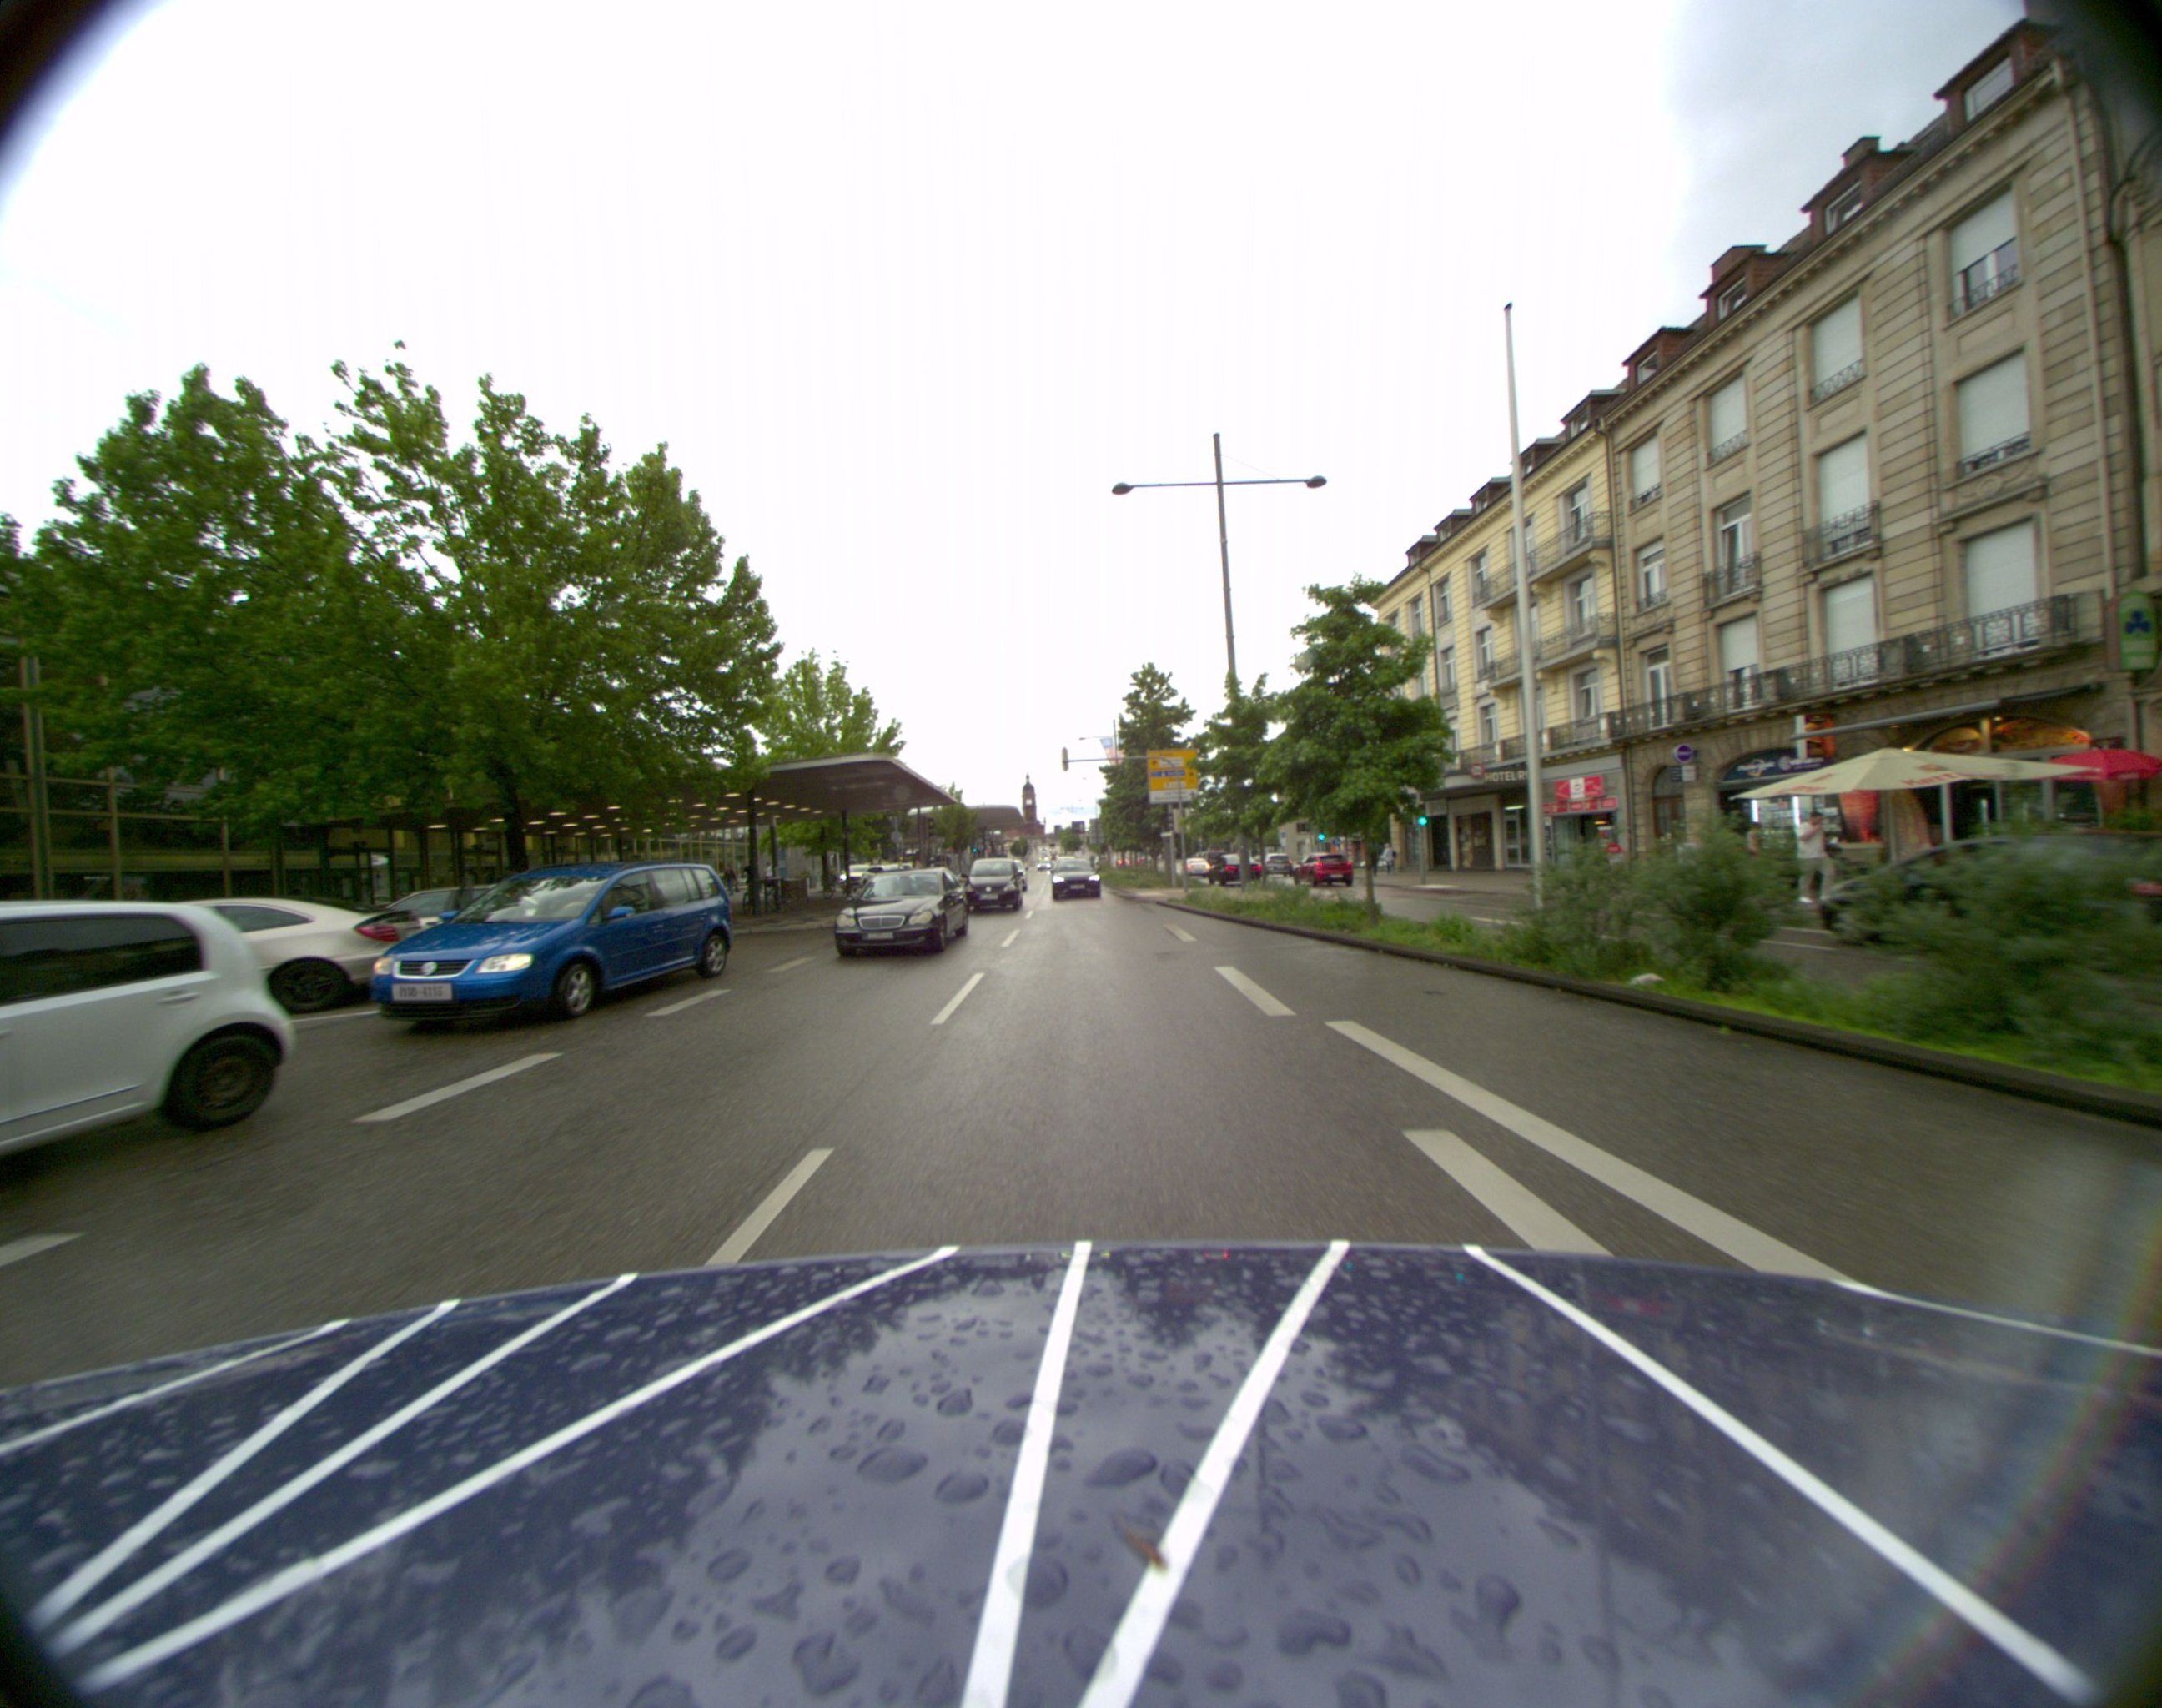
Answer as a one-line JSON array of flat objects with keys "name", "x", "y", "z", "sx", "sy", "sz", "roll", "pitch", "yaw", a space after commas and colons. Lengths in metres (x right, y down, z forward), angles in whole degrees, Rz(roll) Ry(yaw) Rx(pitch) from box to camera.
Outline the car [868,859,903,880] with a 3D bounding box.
[{"name": "car", "x": -15.582, "y": 1.190, "z": 60.732, "sx": 1.820, "sy": 1.482, "sz": 4.463, "roll": -2, "pitch": 0, "yaw": -3}]

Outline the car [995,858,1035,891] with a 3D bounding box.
[{"name": "car", "x": -3.190, "y": 0.980, "z": 37.439, "sx": 1.619, "sy": 1.477, "sz": 3.669, "roll": -2, "pitch": 0, "yaw": -1}]

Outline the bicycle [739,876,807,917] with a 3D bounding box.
[{"name": "bicycle", "x": -9.030, "y": 1.230, "z": 22.303, "sx": 1.723, "sy": 1.040, "sz": 0.523, "roll": -3, "pitch": 1, "yaw": -42}]

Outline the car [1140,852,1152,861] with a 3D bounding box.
[{"name": "car", "x": 11.658, "y": 0.405, "z": 136.881, "sx": 1.983, "sy": 1.438, "sz": 3.908, "roll": -2, "pitch": 0, "yaw": 2}]

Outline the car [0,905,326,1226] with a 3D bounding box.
[{"name": "car", "x": -6.187, "y": 1.128, "z": 3.516, "sx": 1.661, "sy": 1.466, "sz": 3.589, "roll": -2, "pitch": 0, "yaw": 2}]

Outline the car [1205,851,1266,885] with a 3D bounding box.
[{"name": "car", "x": 7.362, "y": 0.625, "z": 36.635, "sx": 1.847, "sy": 1.455, "sz": 5.029, "roll": -2, "pitch": 0, "yaw": -1}]

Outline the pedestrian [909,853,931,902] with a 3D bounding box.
[{"name": "pedestrian", "x": -5.816, "y": 0.839, "z": 27.471, "sx": 0.560, "sy": 1.741, "sz": 0.700, "roll": -1, "pitch": 1, "yaw": 5}]

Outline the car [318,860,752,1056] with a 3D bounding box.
[{"name": "car", "x": -5.961, "y": 0.979, "z": 9.163, "sx": 1.824, "sy": 1.673, "sz": 4.417, "roll": -2, "pitch": 0, "yaw": 3}]

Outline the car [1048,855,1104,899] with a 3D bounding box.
[{"name": "car", "x": -0.129, "y": 0.809, "z": 28.932, "sx": 1.871, "sy": 1.466, "sz": 3.826, "roll": -2, "pitch": 0, "yaw": 3}]

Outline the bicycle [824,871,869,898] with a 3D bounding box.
[{"name": "bicycle", "x": -9.715, "y": 1.271, "z": 31.542, "sx": 1.720, "sy": 1.040, "sz": 0.524, "roll": -1, "pitch": 1, "yaw": -10}]

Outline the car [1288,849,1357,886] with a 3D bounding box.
[{"name": "car", "x": 10.595, "y": 0.543, "z": 33.591, "sx": 1.682, "sy": 1.437, "sz": 3.914, "roll": -2, "pitch": 1, "yaw": -2}]

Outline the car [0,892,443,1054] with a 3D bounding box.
[{"name": "car", "x": -10.277, "y": 1.280, "z": 8.920, "sx": 3.936, "sy": 1.391, "sz": 1.775, "roll": -2, "pitch": 1, "yaw": -28}]

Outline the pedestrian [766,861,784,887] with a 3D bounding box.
[{"name": "pedestrian", "x": -19.679, "y": 1.265, "z": 48.823, "sx": 0.762, "sy": 1.639, "sz": 0.852, "roll": -2, "pitch": 1, "yaw": 0}]

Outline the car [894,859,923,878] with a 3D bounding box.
[{"name": "car", "x": -15.429, "y": 1.285, "z": 68.011, "sx": 1.820, "sy": 1.581, "sz": 4.076, "roll": -2, "pitch": 0, "yaw": -3}]

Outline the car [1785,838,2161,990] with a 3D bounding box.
[{"name": "car", "x": 11.029, "y": 0.557, "z": 9.073, "sx": 1.632, "sy": 1.423, "sz": 3.759, "roll": -2, "pitch": 0, "yaw": -3}]

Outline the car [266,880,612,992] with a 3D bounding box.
[{"name": "car", "x": -10.252, "y": 1.244, "z": 12.546, "sx": 3.934, "sy": 1.391, "sz": 1.776, "roll": -2, "pitch": 1, "yaw": -21}]

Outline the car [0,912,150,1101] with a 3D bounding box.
[{"name": "car", "x": -10.519, "y": 1.329, "z": 5.954, "sx": 3.625, "sy": 1.391, "sz": 1.775, "roll": -2, "pitch": 1, "yaw": -28}]

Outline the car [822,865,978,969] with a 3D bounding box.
[{"name": "car", "x": -3.035, "y": 0.990, "z": 13.573, "sx": 1.872, "sy": 1.466, "sz": 3.825, "roll": -2, "pitch": 0, "yaw": -1}]

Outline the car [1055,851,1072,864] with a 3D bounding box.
[{"name": "car", "x": -2.234, "y": 0.436, "z": 96.417, "sx": 2.055, "sy": 1.581, "sz": 4.076, "roll": -2, "pitch": 0, "yaw": -3}]

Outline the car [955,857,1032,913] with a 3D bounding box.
[{"name": "car", "x": -2.540, "y": 0.867, "z": 22.912, "sx": 1.872, "sy": 1.466, "sz": 3.825, "roll": -2, "pitch": 0, "yaw": -1}]

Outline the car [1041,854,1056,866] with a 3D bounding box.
[{"name": "car", "x": -4.583, "y": 0.900, "z": 108.260, "sx": 2.055, "sy": 1.581, "sz": 4.076, "roll": -2, "pitch": 1, "yaw": -3}]

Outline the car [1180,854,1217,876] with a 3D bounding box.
[{"name": "car", "x": 8.347, "y": 0.756, "z": 54.312, "sx": 1.847, "sy": 1.455, "sz": 4.372, "roll": -2, "pitch": 0, "yaw": -1}]

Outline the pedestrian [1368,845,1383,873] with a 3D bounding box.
[{"name": "pedestrian", "x": 15.712, "y": 0.272, "z": 40.554, "sx": 0.643, "sy": 1.480, "sz": 0.747, "roll": -3, "pitch": 0, "yaw": 18}]

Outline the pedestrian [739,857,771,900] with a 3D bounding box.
[{"name": "pedestrian", "x": -13.728, "y": 1.006, "z": 31.999, "sx": 0.823, "sy": 1.747, "sz": 0.913, "roll": -2, "pitch": 1, "yaw": 5}]

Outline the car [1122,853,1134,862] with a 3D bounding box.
[{"name": "car", "x": 8.034, "y": 0.567, "z": 130.462, "sx": 1.983, "sy": 1.438, "sz": 3.908, "roll": -2, "pitch": 0, "yaw": 2}]

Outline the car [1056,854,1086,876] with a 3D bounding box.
[{"name": "car", "x": -0.676, "y": 0.767, "z": 54.427, "sx": 1.983, "sy": 1.438, "sz": 3.908, "roll": -1, "pitch": 1, "yaw": 2}]

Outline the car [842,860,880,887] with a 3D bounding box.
[{"name": "car", "x": -14.220, "y": 1.211, "z": 49.384, "sx": 1.821, "sy": 1.546, "sz": 4.461, "roll": -2, "pitch": 0, "yaw": -9}]

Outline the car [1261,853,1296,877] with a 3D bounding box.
[{"name": "car", "x": 13.210, "y": 0.704, "z": 50.933, "sx": 1.766, "sy": 1.499, "sz": 3.844, "roll": -2, "pitch": 0, "yaw": 7}]

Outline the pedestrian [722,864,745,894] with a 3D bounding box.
[{"name": "pedestrian", "x": -18.296, "y": 1.310, "z": 39.975, "sx": 0.762, "sy": 1.502, "sz": 0.852, "roll": -2, "pitch": 1, "yaw": 0}]

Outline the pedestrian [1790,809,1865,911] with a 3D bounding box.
[{"name": "pedestrian", "x": 14.462, "y": 0.108, "z": 14.745, "sx": 0.678, "sy": 1.899, "sz": 0.765, "roll": -2, "pitch": 1, "yaw": 0}]

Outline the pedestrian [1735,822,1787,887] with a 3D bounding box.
[{"name": "pedestrian", "x": 18.170, "y": 0.006, "z": 20.306, "sx": 0.765, "sy": 1.661, "sz": 0.678, "roll": -2, "pitch": 2, "yaw": -6}]

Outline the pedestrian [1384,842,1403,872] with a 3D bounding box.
[{"name": "pedestrian", "x": 16.579, "y": 0.157, "z": 40.327, "sx": 0.789, "sy": 1.529, "sz": 0.747, "roll": -3, "pitch": 0, "yaw": 18}]

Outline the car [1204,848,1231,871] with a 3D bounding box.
[{"name": "car", "x": 11.059, "y": 0.433, "z": 61.664, "sx": 1.815, "sy": 1.740, "sz": 3.812, "roll": -2, "pitch": 0, "yaw": 5}]

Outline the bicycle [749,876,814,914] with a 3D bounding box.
[{"name": "bicycle", "x": -9.090, "y": 1.239, "z": 23.073, "sx": 1.723, "sy": 1.040, "sz": 0.524, "roll": -2, "pitch": 1, "yaw": -34}]

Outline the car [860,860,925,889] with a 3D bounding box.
[{"name": "car", "x": -10.823, "y": 1.154, "z": 43.396, "sx": 1.824, "sy": 1.482, "sz": 4.148, "roll": -3, "pitch": 1, "yaw": -42}]
